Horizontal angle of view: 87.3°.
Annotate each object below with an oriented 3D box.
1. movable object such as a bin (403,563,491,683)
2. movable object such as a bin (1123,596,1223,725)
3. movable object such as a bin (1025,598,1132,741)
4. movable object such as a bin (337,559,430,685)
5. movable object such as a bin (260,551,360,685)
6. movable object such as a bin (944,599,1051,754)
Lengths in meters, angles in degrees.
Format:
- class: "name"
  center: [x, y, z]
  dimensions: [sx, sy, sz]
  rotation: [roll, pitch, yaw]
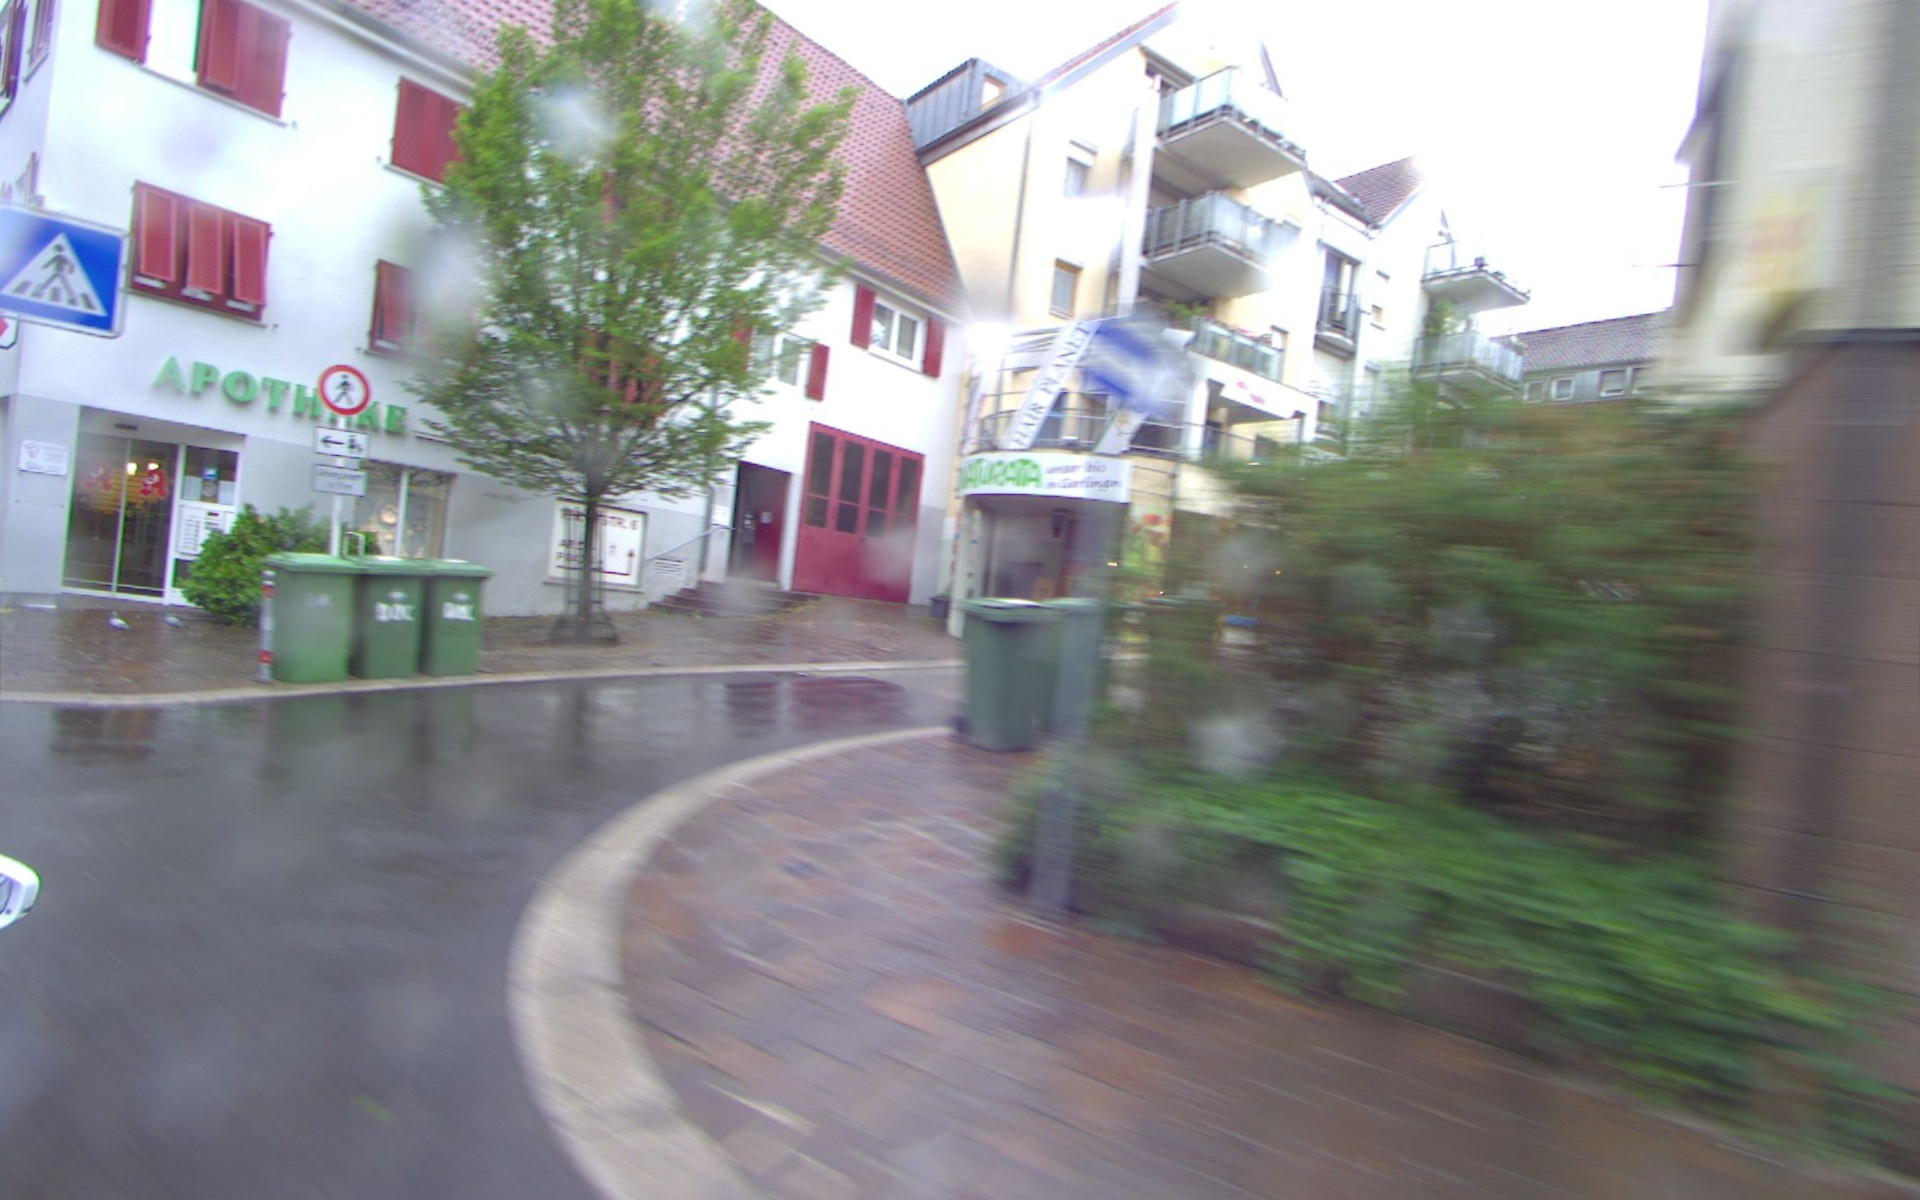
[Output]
- class: "movable object such as a bin"
  center: [-4.826, 0.213, 9.467]
  dimensions: [0.540, 1.070, 0.500]
  rotation: [5, 1, 36]
- class: "movable object such as a bin"
  center: [1.891, 0.529, 8.940]
  dimensions: [0.510, 1.070, 0.619]
  rotation: [3, 1, -36]
- class: "movable object such as a bin"
  center: [0.956, 0.548, 8.114]
  dimensions: [0.616, 1.070, 0.512]
  rotation: [5, 1, 38]
- class: "movable object such as a bin"
  center: [-5.158, 0.195, 9.007]
  dimensions: [0.540, 1.070, 0.500]
  rotation: [5, 1, 36]
- class: "movable object such as a bin"
  center: [-5.486, 0.151, 8.489]
  dimensions: [0.540, 1.070, 0.500]
  rotation: [5, 1, 36]
- class: "movable object such as a bin"
  center: [0.267, 0.555, 7.445]
  dimensions: [0.508, 1.070, 0.621]
  rotation: [4, 1, -24]
